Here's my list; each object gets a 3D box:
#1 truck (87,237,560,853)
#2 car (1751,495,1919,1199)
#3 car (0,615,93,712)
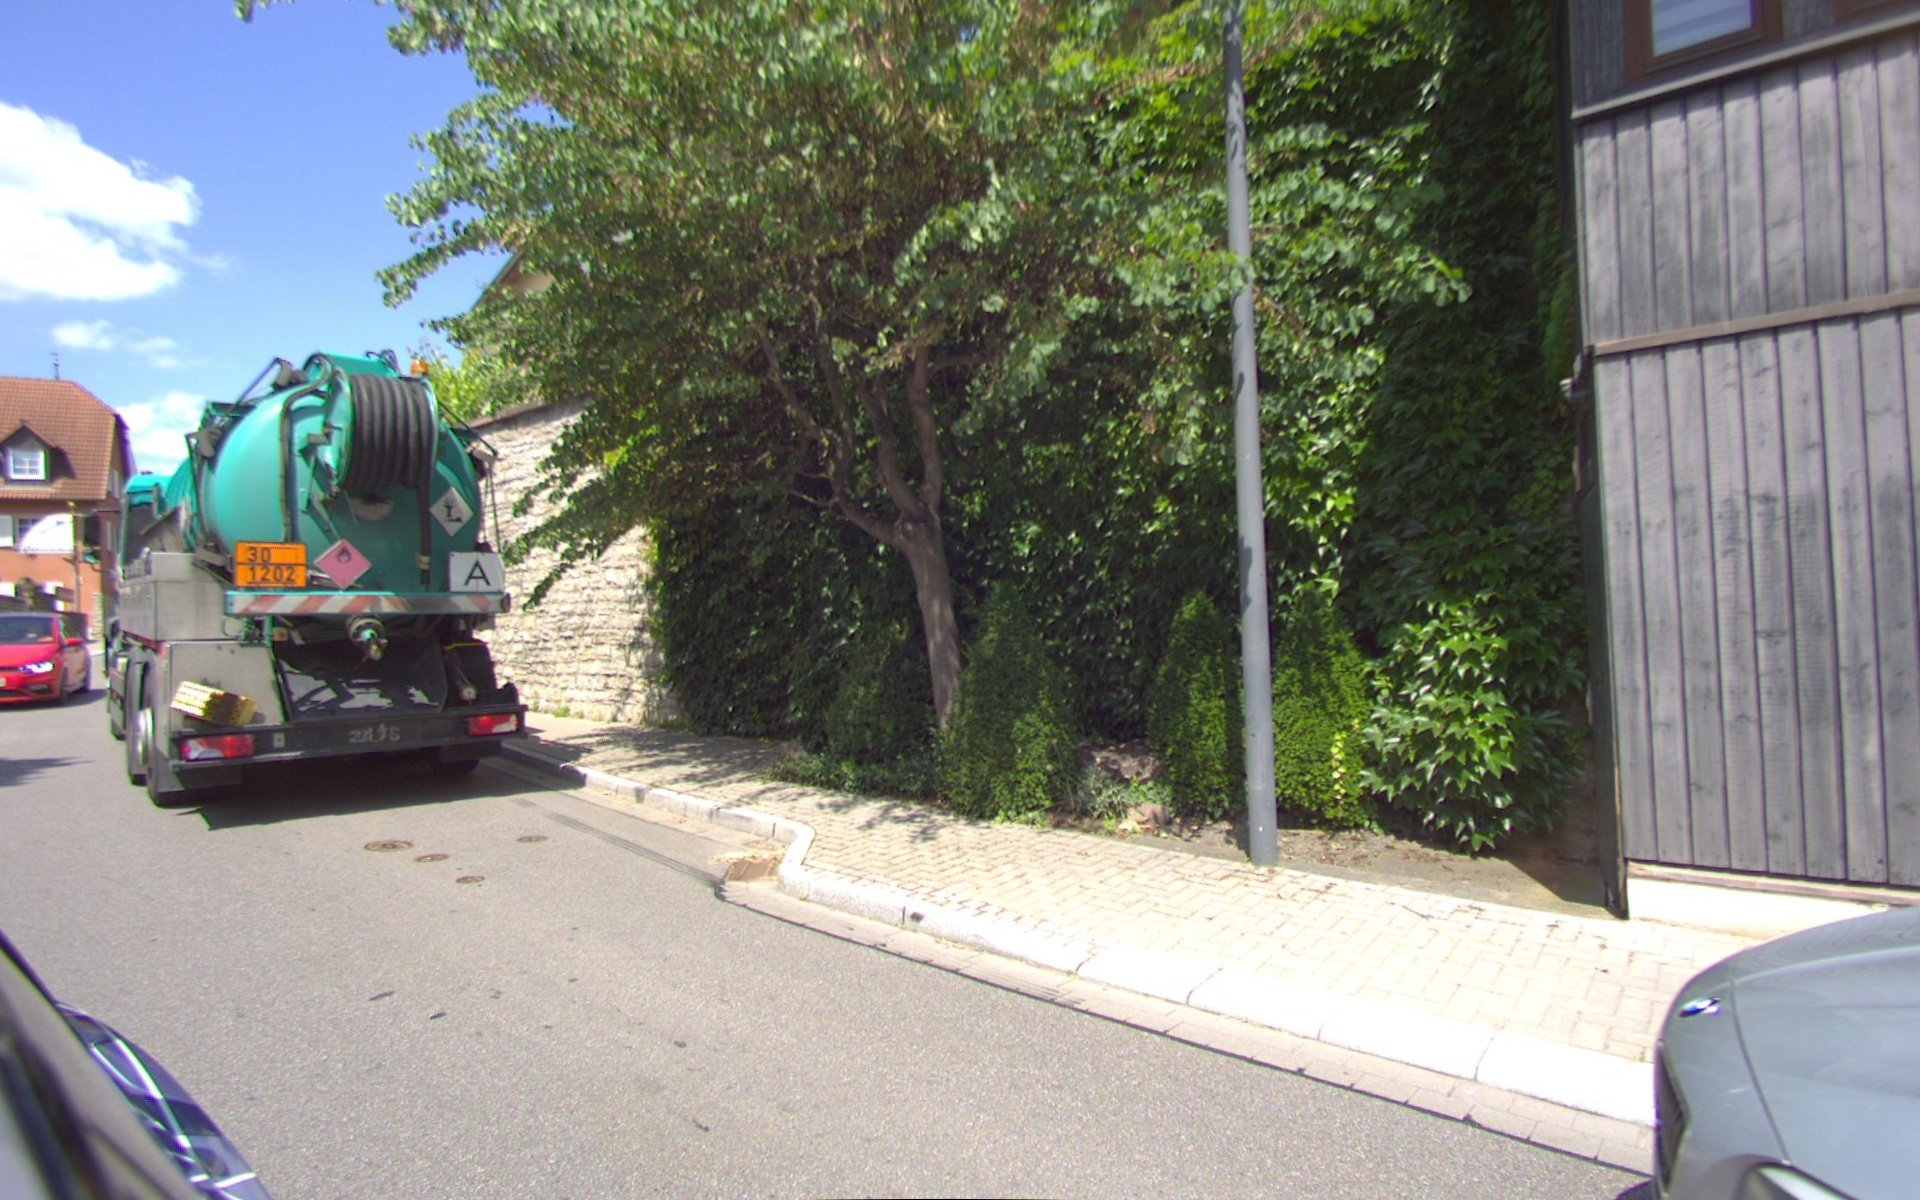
[{"bbox_3d":[-7.154,-0.250,10.383,2.383,3.686,9.577,1,-2,-43],"label":"truck"},{"bbox_3d":[3.269,0.593,0.344,4.605,1.512,1.878,-2,-2,37],"label":"car"},{"bbox_3d":[-14.769,0.921,15.652,1.643,1.362,3.503,0,-1,-34],"label":"car"}]
